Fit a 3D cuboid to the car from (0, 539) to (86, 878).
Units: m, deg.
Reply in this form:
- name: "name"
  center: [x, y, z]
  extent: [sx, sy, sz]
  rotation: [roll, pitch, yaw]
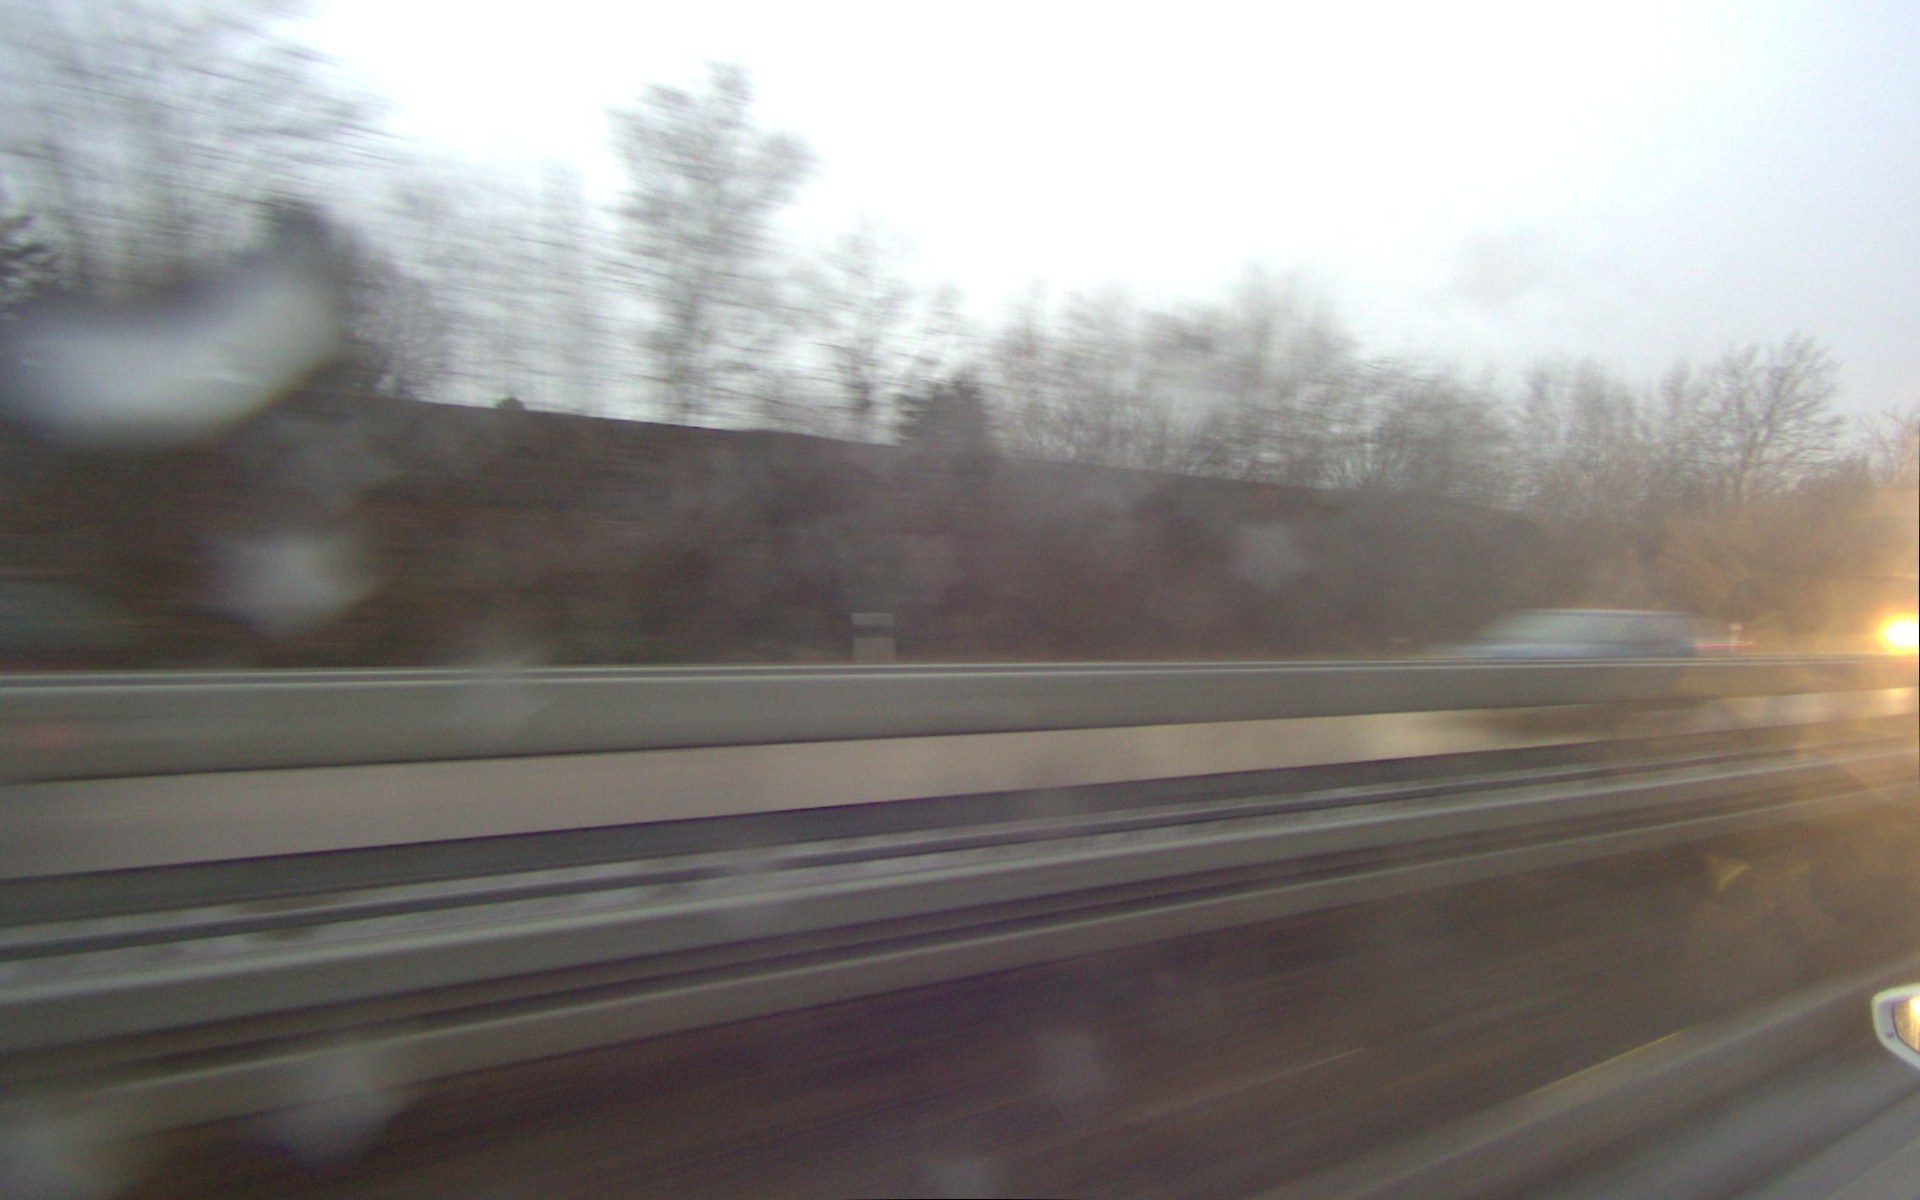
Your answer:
- name: "car"
  center: [-6.065, 0.433, 4.096]
  extent: [3.463, 1.539, 1.646]
  rotation: [2, 1, -30]

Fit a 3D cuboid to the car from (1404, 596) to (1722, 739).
- name: "car"
  center: [7.825, 0.804, 12.967]
  extent: [4.087, 1.530, 1.774]
  rotation: [2, 1, -31]

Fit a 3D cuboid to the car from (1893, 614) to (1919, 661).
- name: "car"
  center: [41.376, 1.622, 42.505]
  extent: [4.741, 1.857, 1.867]
  rotation: [2, 1, -36]
